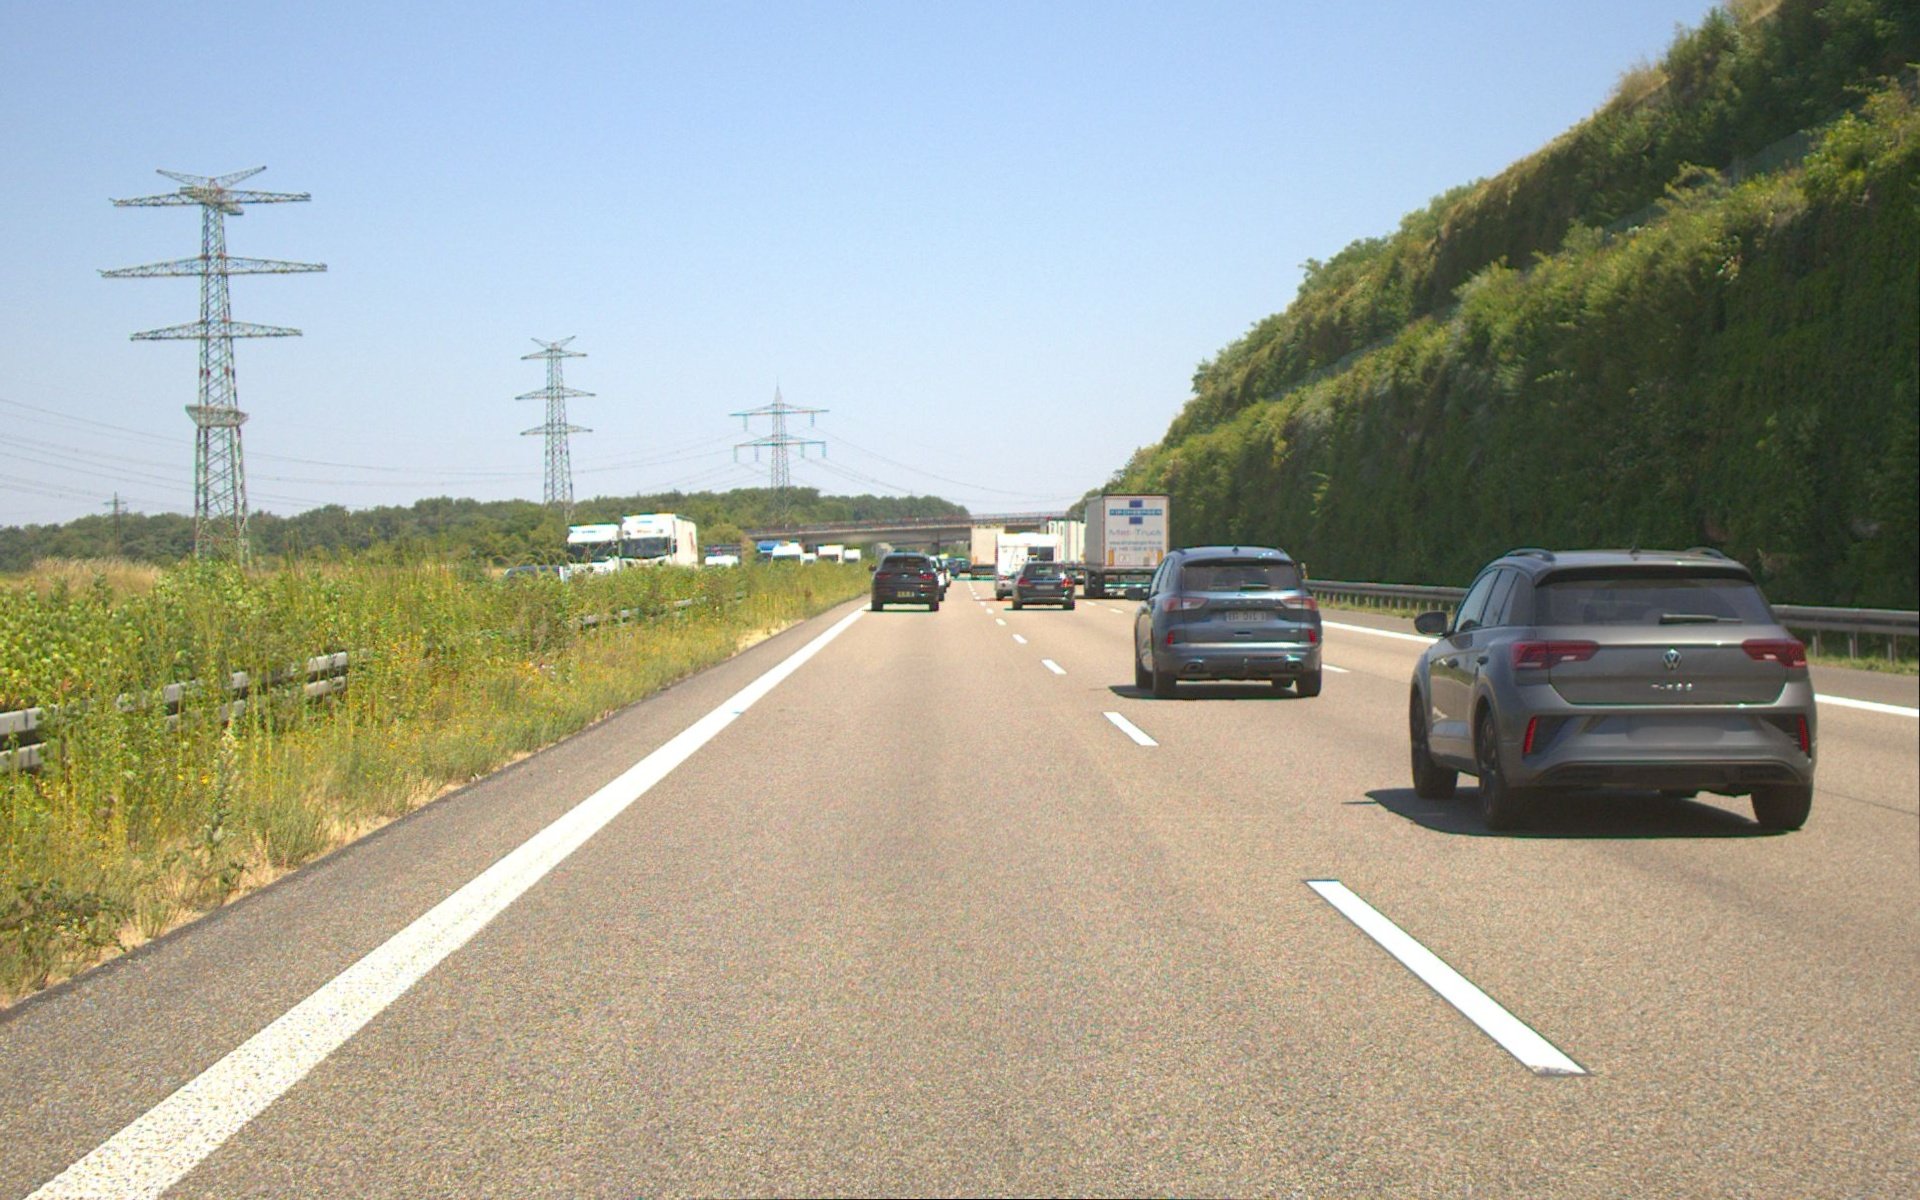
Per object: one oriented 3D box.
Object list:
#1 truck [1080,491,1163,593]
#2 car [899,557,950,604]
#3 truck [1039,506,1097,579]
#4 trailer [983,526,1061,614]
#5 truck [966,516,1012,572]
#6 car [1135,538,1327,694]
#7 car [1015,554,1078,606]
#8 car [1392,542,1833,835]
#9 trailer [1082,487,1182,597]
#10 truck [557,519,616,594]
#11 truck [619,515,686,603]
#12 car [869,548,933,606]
[{"bbox_3d":[6.743,-2.416,144.191,3.136,4.127,5.504,-1,1,0],"label":"truck"},{"bbox_3d":[-1.306,-0.728,126.175,1.830,1.665,4.000,-1,1,-1],"label":"car"},{"bbox_3d":[6.616,-3.534,212.402,3.119,4.265,11.934,-1,1,0],"label":"truck"},{"bbox_3d":[2.320,-1.174,132.246,2.610,3.202,9.953,-1,1,-1],"label":"trailer"},{"bbox_3d":[2.185,-4.298,264.996,3.409,4.265,10.607,0,1,0],"label":"truck"},{"bbox_3d":[2.979,0.143,38.530,1.794,1.647,4.138,0,1,0],"label":"car"},{"bbox_3d":[2.635,-0.635,105.189,1.830,1.520,4.000,-1,1,0],"label":"car"},{"bbox_3d":[3.691,0.442,20.119,1.749,1.520,3.995,-1,1,-1],"label":"car"},{"bbox_3d":[6.801,-2.307,137.689,3.183,4.107,13.432,-1,1,0],"label":"trailer"},{"bbox_3d":[-19.480,-2.260,179.577,2.775,3.840,5.571,0,1,-3],"label":"truck"},{"bbox_3d":[-14.722,-1.957,164.721,2.805,4.144,5.570,0,1,-1],"label":"truck"},{"bbox_3d":[-1.736,-0.692,102.194,1.830,1.665,4.000,-1,1,-1],"label":"car"}]
